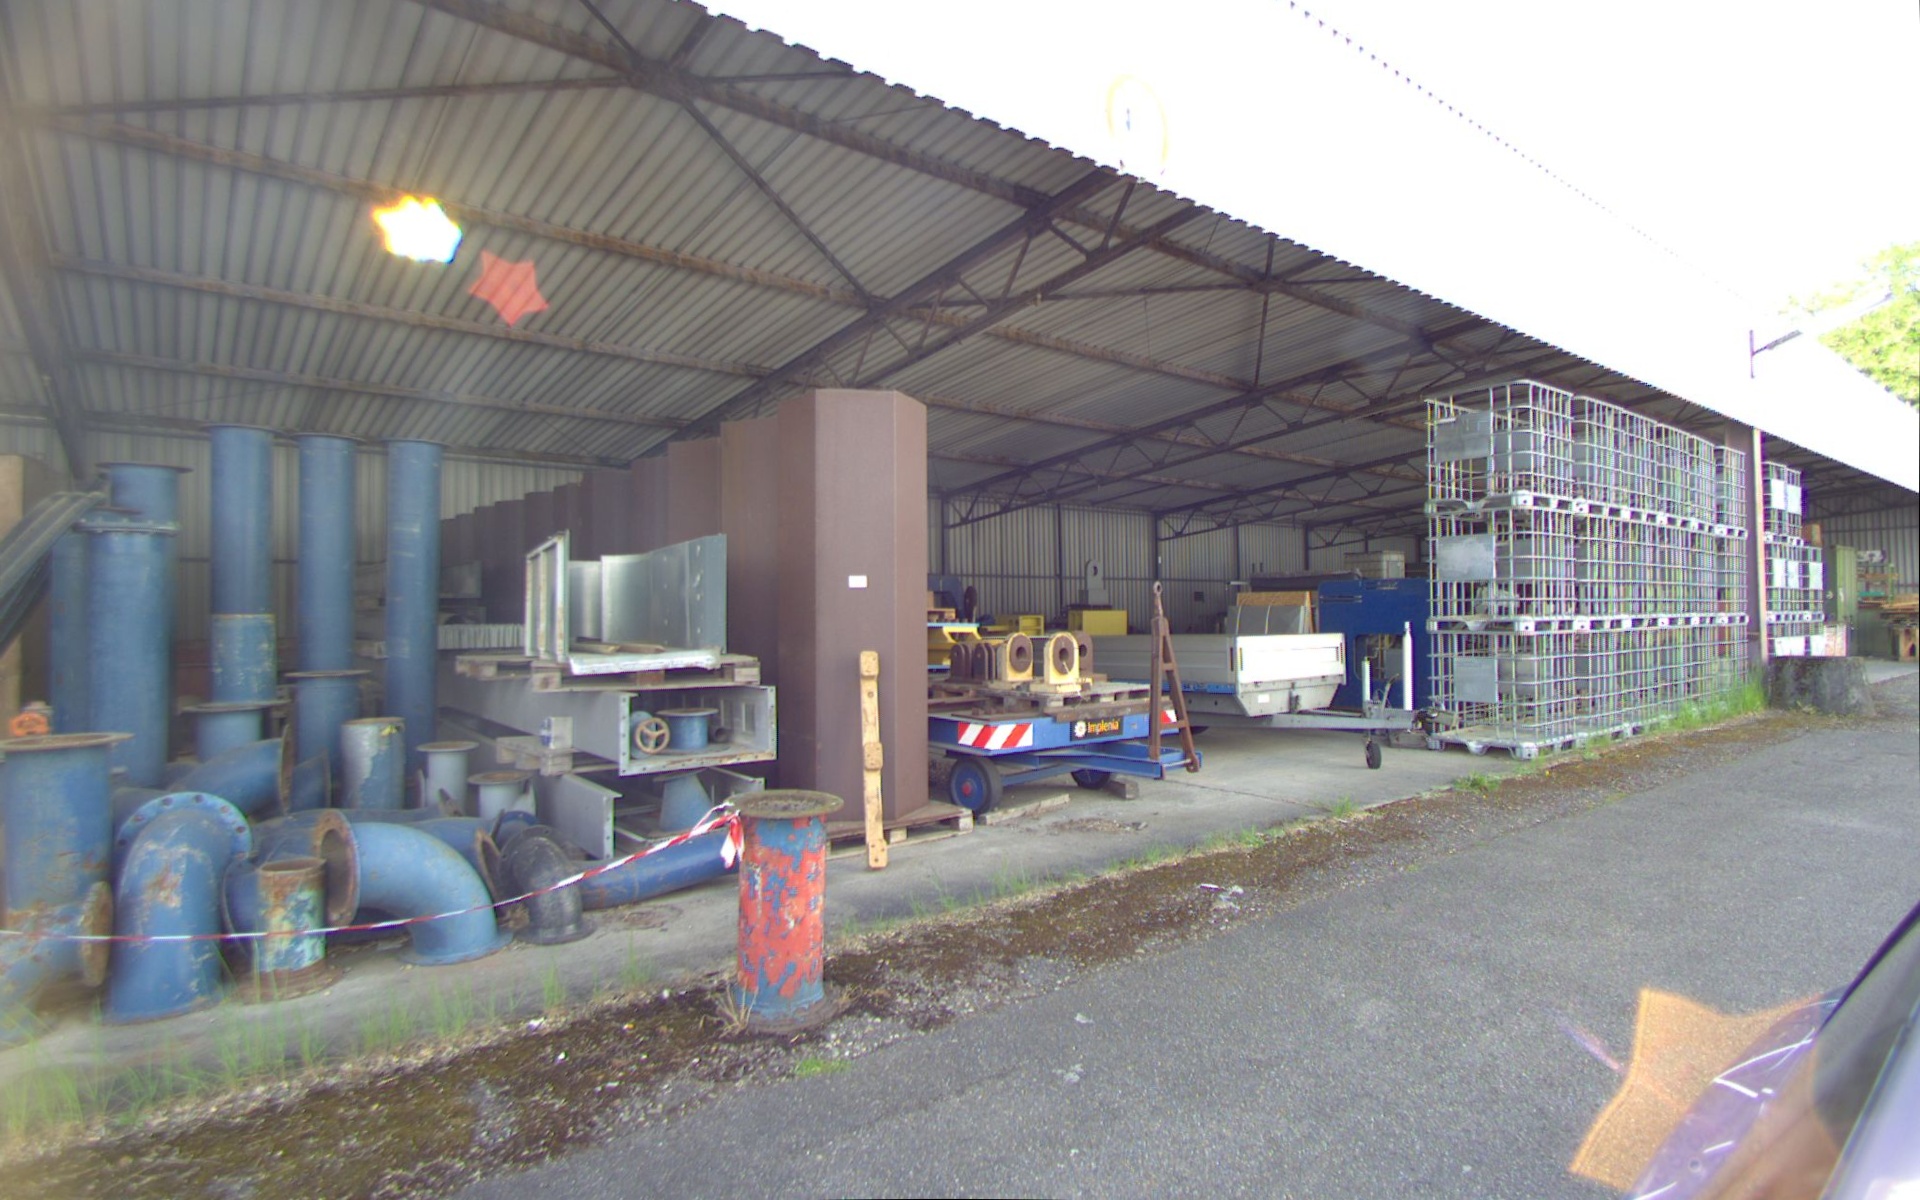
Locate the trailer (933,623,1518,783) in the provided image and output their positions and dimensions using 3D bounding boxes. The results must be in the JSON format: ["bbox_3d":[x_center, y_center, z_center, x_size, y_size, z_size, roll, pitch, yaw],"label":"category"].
[{"bbox_3d":[2.283,0.838,10.499,1.993,1.134,5.834,0,-1,-39],"label":"trailer"}]

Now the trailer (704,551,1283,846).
[{"bbox_3d":[-0.094,0.572,8.207,1.993,1.649,4.877,0,-1,-39],"label":"trailer"}]
